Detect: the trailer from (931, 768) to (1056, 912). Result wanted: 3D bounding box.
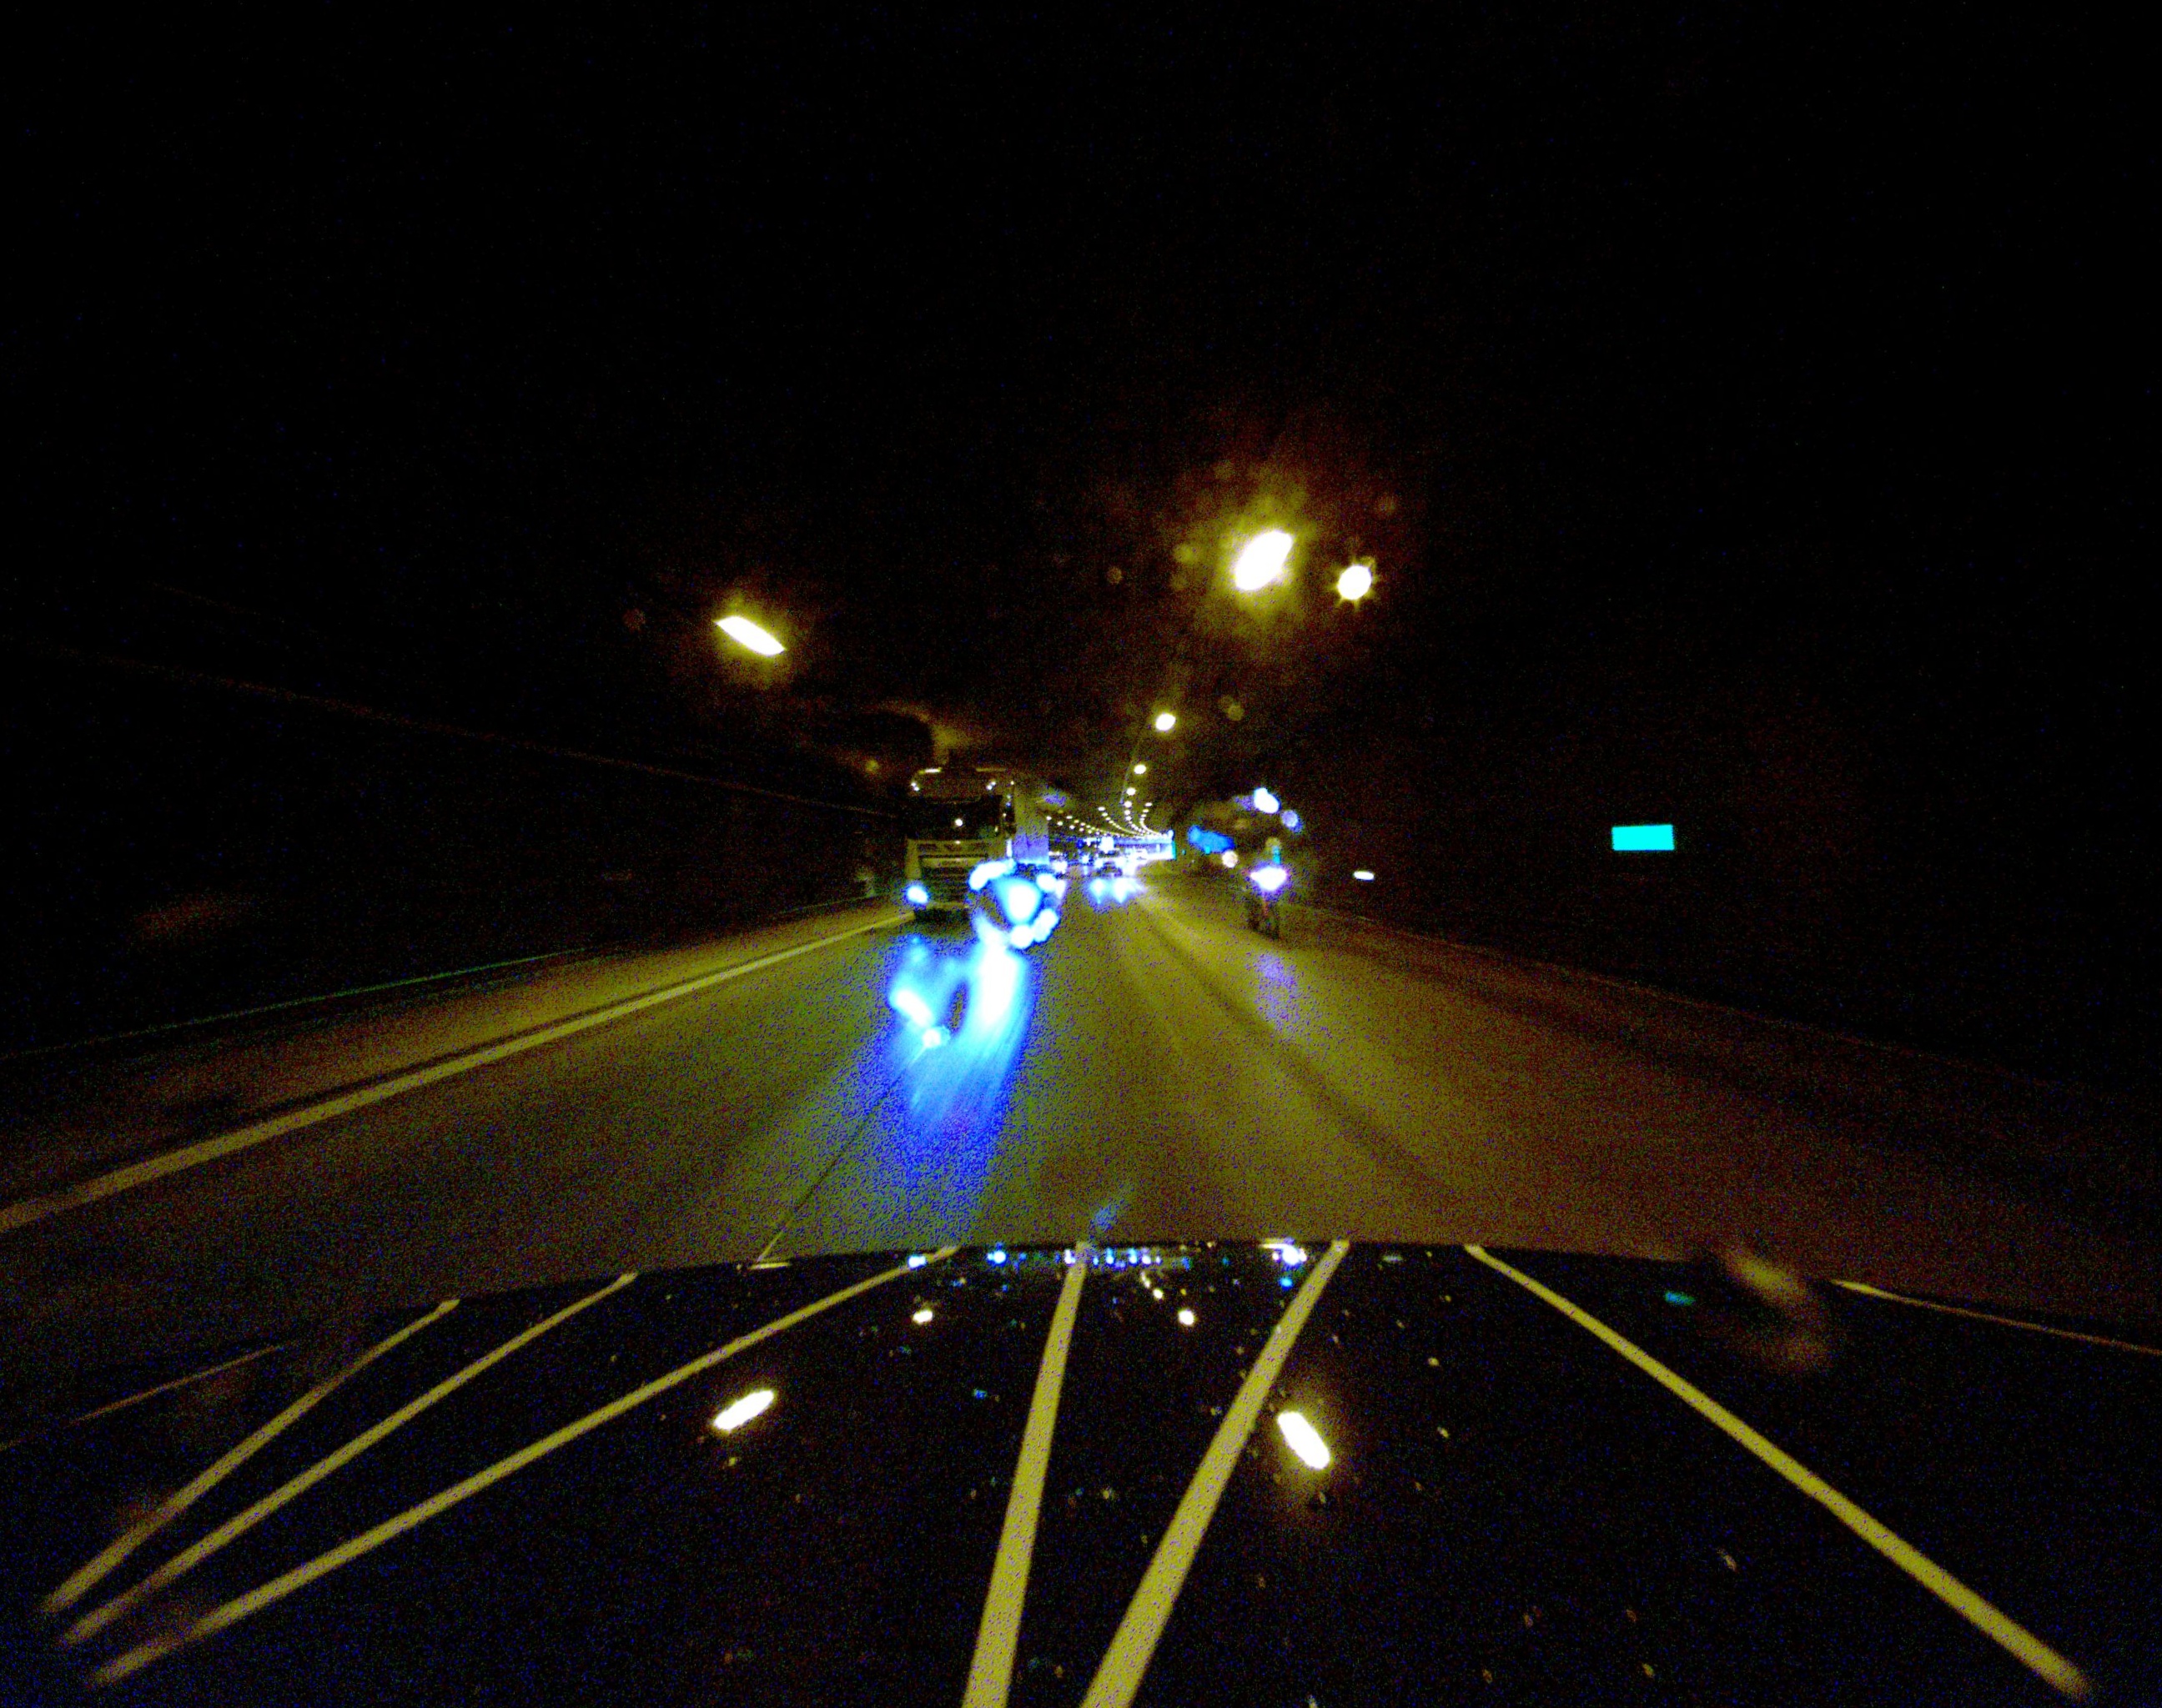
[{"bbox_3d":[-2.838,-0.446,29.566,2.627,4.139,14.001,-3,0,2],"label":"trailer"}]

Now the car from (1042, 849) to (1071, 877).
[{"bbox_3d":[-1.737,0.585,54.443,1.839,1.849,4.288,-1,1,1],"label":"car"}]

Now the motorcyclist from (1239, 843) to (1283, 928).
[{"bbox_3d":[3.246,0.550,13.735,0.628,1.480,0.891,-2,1,6],"label":"motorcyclist"}]

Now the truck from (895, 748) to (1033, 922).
[{"bbox_3d":[-3.060,-0.487,21.636,2.652,4.139,6.005,-3,1,2],"label":"truck"}]

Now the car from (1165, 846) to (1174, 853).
[{"bbox_3d":[24.741,-1.346,212.859,1.997,1.788,4.003,-3,1,12],"label":"car"}]

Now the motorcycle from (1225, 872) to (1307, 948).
[{"bbox_3d":[3.286,0.960,13.758,1.055,1.151,2.428,-2,0,5],"label":"motorcycle"}]

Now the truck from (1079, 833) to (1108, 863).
[{"bbox_3d":[1.790,-0.870,103.559,2.899,3.819,9.000,-3,1,7],"label":"truck"}]

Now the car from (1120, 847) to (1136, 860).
[{"bbox_3d":[6.944,-0.070,112.230,1.998,1.788,4.001,-3,1,6],"label":"car"}]

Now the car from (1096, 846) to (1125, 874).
[{"bbox_3d":[2.143,0.413,55.559,1.998,1.890,4.000,-2,0,1],"label":"car"}]

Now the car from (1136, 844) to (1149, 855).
[{"bbox_3d":[11.291,-0.817,139.608,1.997,1.788,4.002,-3,1,9],"label":"car"}]
